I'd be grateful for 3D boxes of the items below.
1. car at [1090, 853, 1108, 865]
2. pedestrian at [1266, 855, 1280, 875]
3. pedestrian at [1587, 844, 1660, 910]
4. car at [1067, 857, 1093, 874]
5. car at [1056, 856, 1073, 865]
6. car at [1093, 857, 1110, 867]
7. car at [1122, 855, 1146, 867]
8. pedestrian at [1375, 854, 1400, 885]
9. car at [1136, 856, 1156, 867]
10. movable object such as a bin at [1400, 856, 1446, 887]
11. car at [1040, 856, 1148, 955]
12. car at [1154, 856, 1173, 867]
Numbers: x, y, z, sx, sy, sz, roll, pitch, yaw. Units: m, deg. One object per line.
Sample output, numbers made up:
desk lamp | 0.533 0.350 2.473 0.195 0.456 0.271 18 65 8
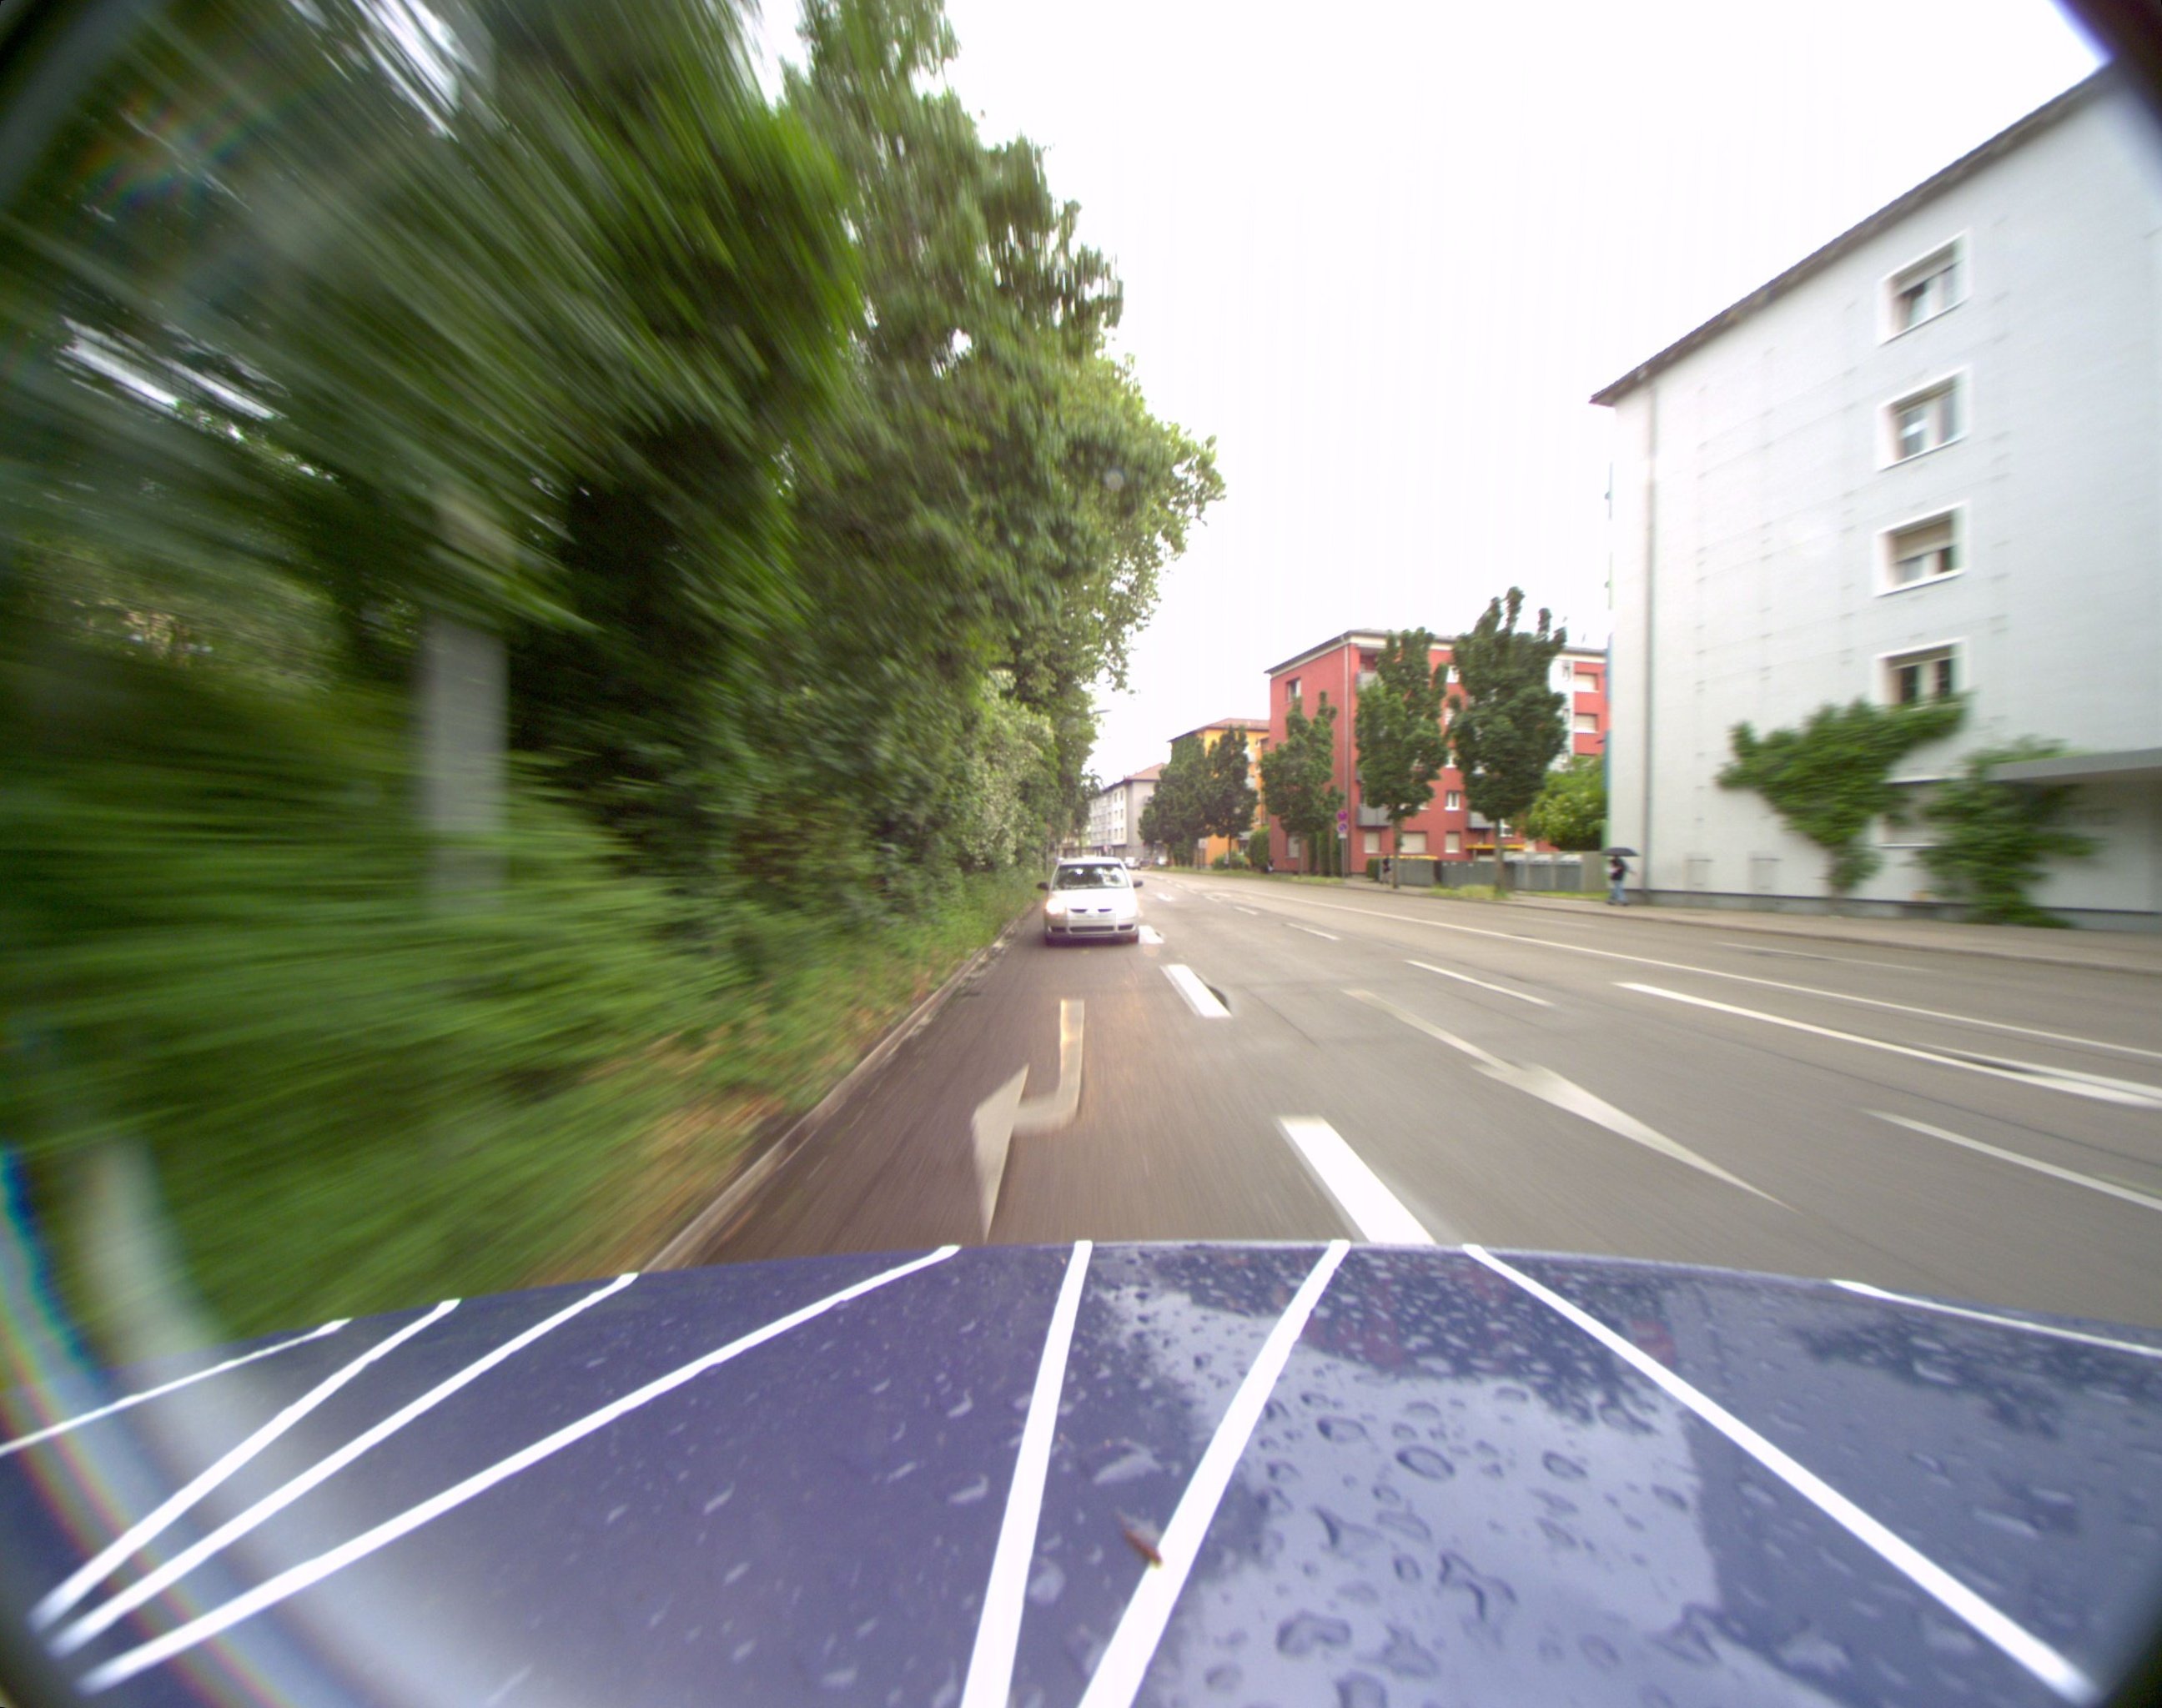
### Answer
car | 2.504 0.724 108.771 1.880 1.593 4.461 1 0 -8
pedestrian | 13.747 0.764 54.459 0.673 1.440 0.835 0 0 -8
pedestrian | 15.272 0.636 21.413 1.137 1.793 1.262 0 0 -3
car | -0.148 1.124 75.616 1.737 1.590 3.995 -1 0 -12
car | -2.621 1.076 119.960 1.847 1.377 4.356 1 0 -10
car | 3.261 1.270 121.289 1.853 1.536 4.243 -3 1 -9
car | 6.016 0.785 86.668 1.880 1.382 4.624 1 0 -7
pedestrian | 14.778 0.736 36.667 0.694 1.508 1.069 0 0 -8
car | 9.504 1.103 111.367 1.857 1.477 4.630 -2 1 -10
movable object such as a bin | 16.994 0.858 37.833 1.219 1.476 2.086 0 0 -5
car | 0.234 0.839 14.408 1.755 1.586 4.169 0 0 1
car | 12.093 1.085 111.944 1.736 1.516 4.225 1 0 -10
